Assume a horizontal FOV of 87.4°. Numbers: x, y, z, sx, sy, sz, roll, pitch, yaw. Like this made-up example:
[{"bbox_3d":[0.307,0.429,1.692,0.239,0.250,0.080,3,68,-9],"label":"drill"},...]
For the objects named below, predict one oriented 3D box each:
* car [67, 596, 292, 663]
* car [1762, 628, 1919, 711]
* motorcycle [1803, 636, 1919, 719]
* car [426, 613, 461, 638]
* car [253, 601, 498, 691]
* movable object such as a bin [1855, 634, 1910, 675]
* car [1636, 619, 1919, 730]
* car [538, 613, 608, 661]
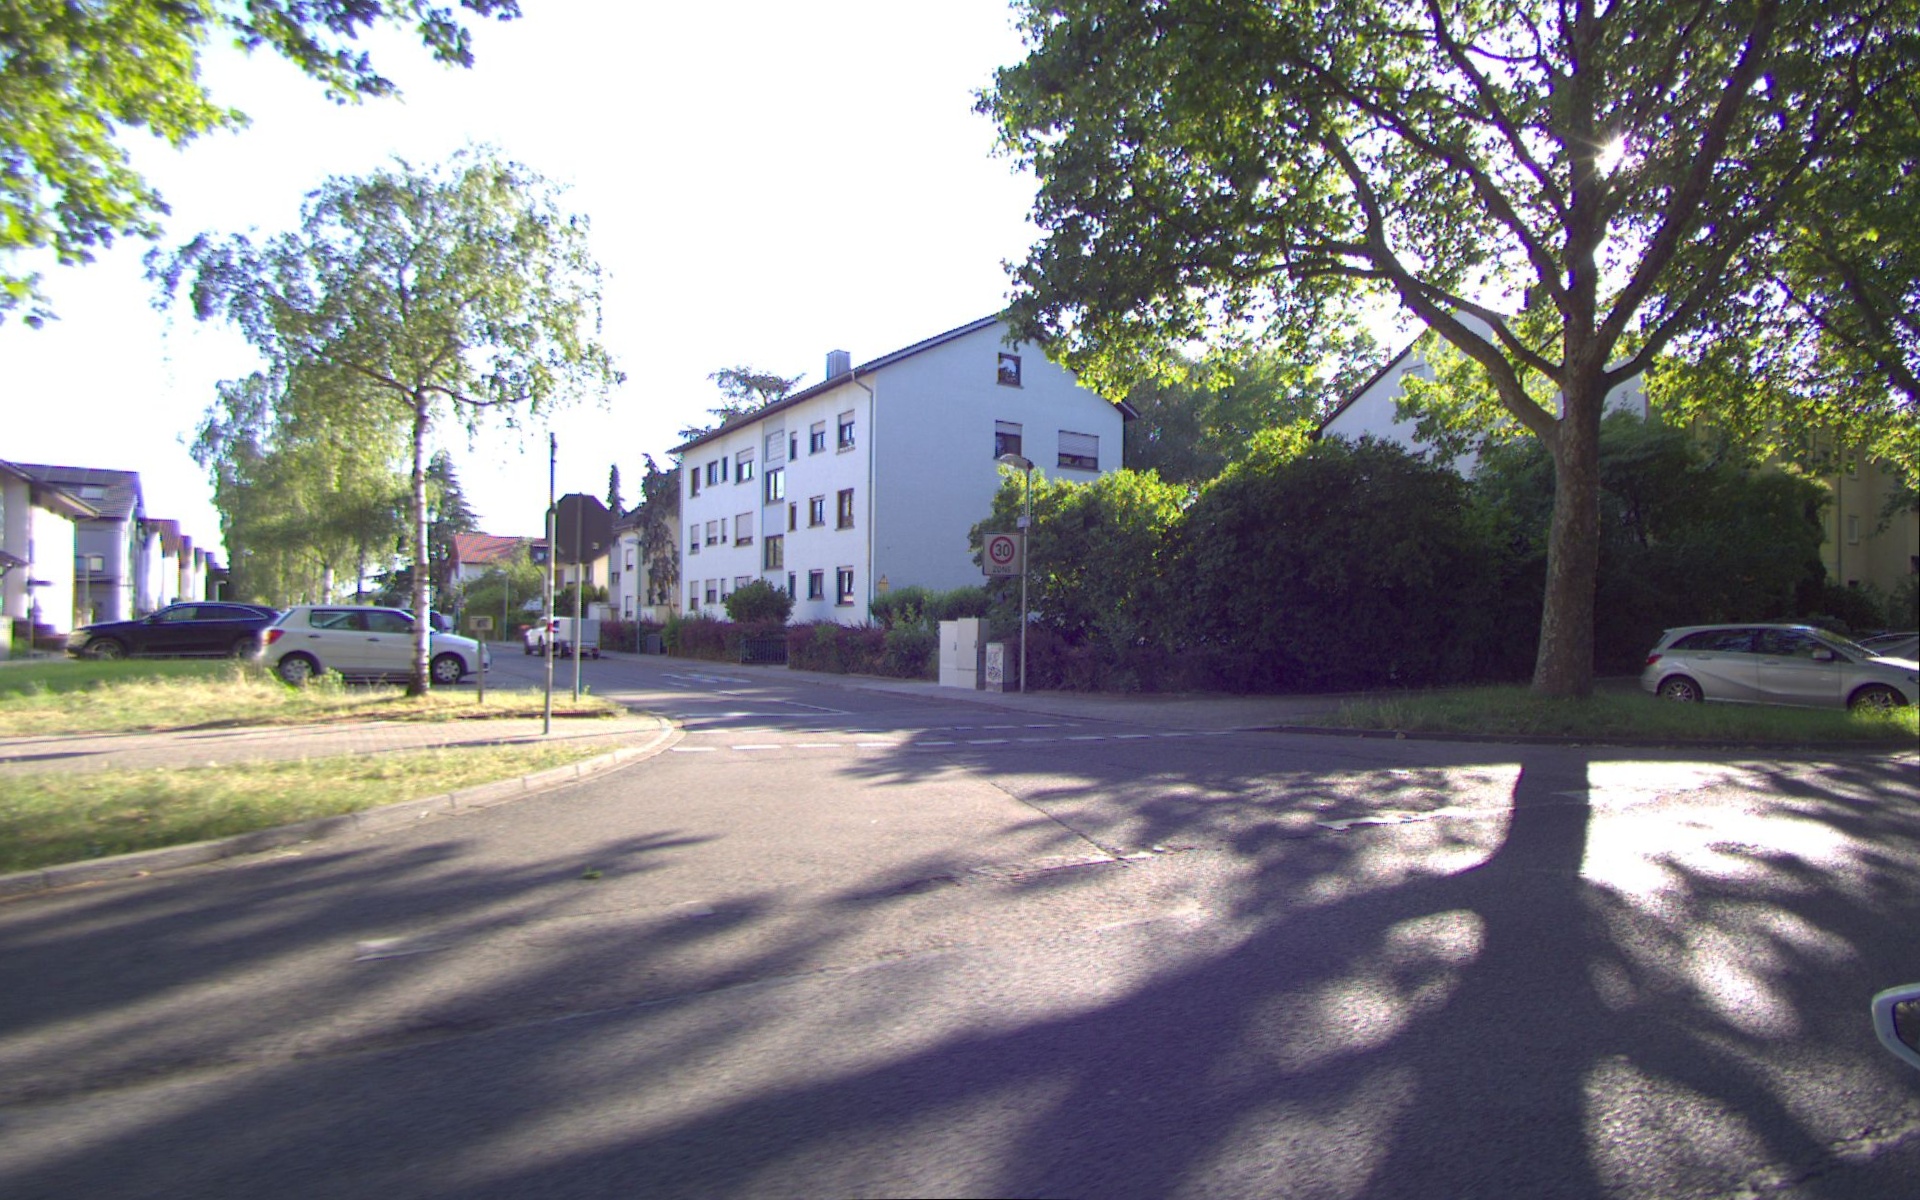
[{"bbox_3d":[-19.933,0.756,25.958,4.419,1.595,1.981,2,-1,-35],"label":"car"},{"bbox_3d":[18.534,1.345,19.651,1.782,1.526,4.137,1,-1,-33],"label":"car"},{"bbox_3d":[16.571,1.362,17.834,0.642,1.406,2.370,2,-2,-34],"label":"motorcycle"},{"bbox_3d":[-37.675,1.863,73.208,1.977,1.762,3.967,1,-1,-31],"label":"car"},{"bbox_3d":[-11.406,0.864,19.744,3.958,1.595,1.981,2,-1,-34],"label":"car"},{"bbox_3d":[32.124,1.890,35.004,0.942,1.368,1.181,2,-2,-29],"label":"movable object such as a bin"},{"bbox_3d":[14.257,1.176,17.078,1.979,1.605,4.158,2,-1,-33],"label":"car"},{"bbox_3d":[-15.163,1.413,39.205,1.883,1.762,3.967,1,-1,-31],"label":"car"}]
